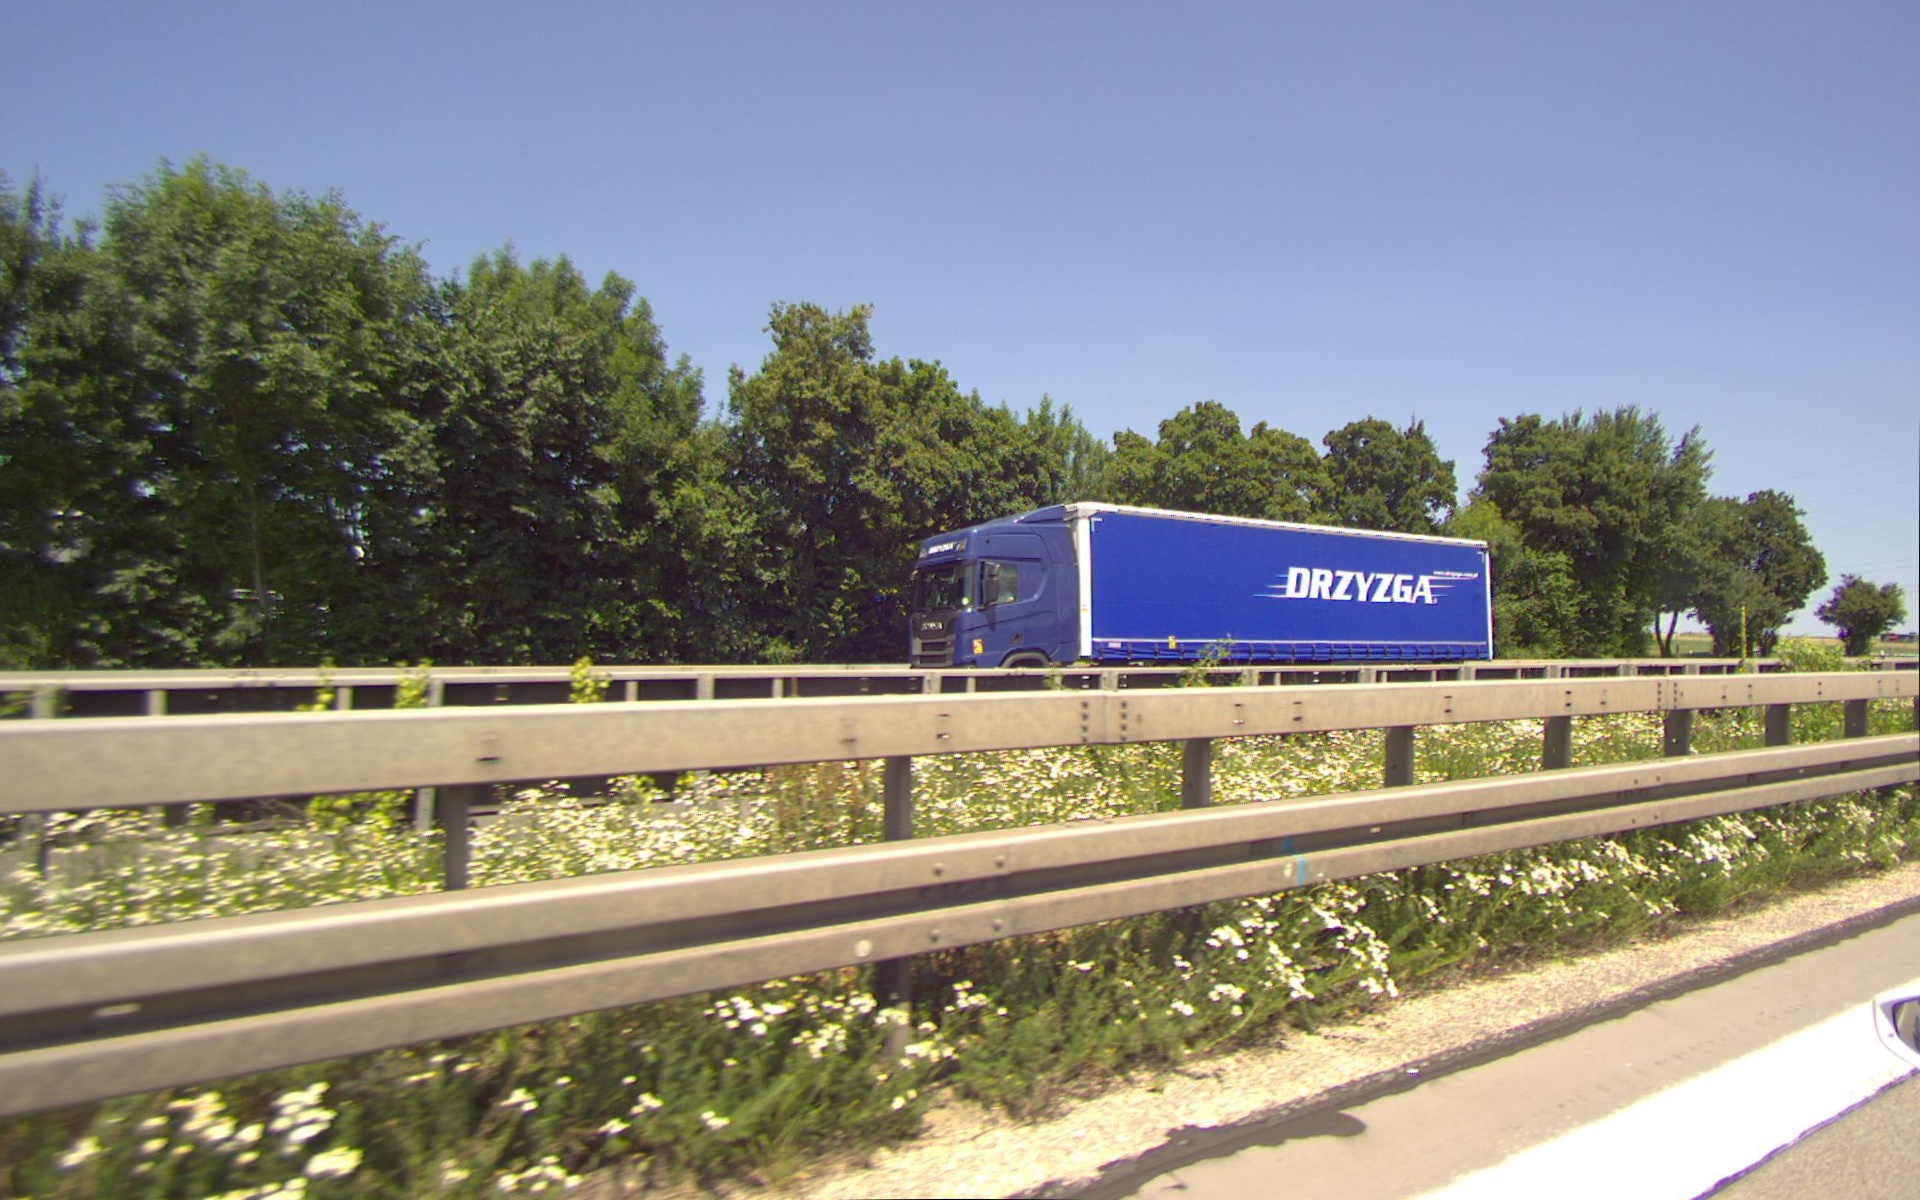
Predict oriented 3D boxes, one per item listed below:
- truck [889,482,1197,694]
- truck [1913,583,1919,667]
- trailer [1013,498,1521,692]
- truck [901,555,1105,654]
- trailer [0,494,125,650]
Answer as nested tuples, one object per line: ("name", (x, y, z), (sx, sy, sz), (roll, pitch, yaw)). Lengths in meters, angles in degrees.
("truck", (1.743, -0.134, 20.683), (5.627, 3.795, 2.834), (2, 0, -30))
("truck", (48.324, 1.309, 47.201), (9.046, 3.870, 2.663), (2, 0, -30))
("trailer", (8.104, 0.139, 24.495), (14.362, 3.783, 2.828), (2, 0, -31))
("truck", (1.867, 0.265, 41.137), (8.304, 3.682, 2.540), (2, 0, -32))
("trailer", (-27.626, -0.855, 22.805), (13.033, 3.746, 1.983), (2, 0, -31))
